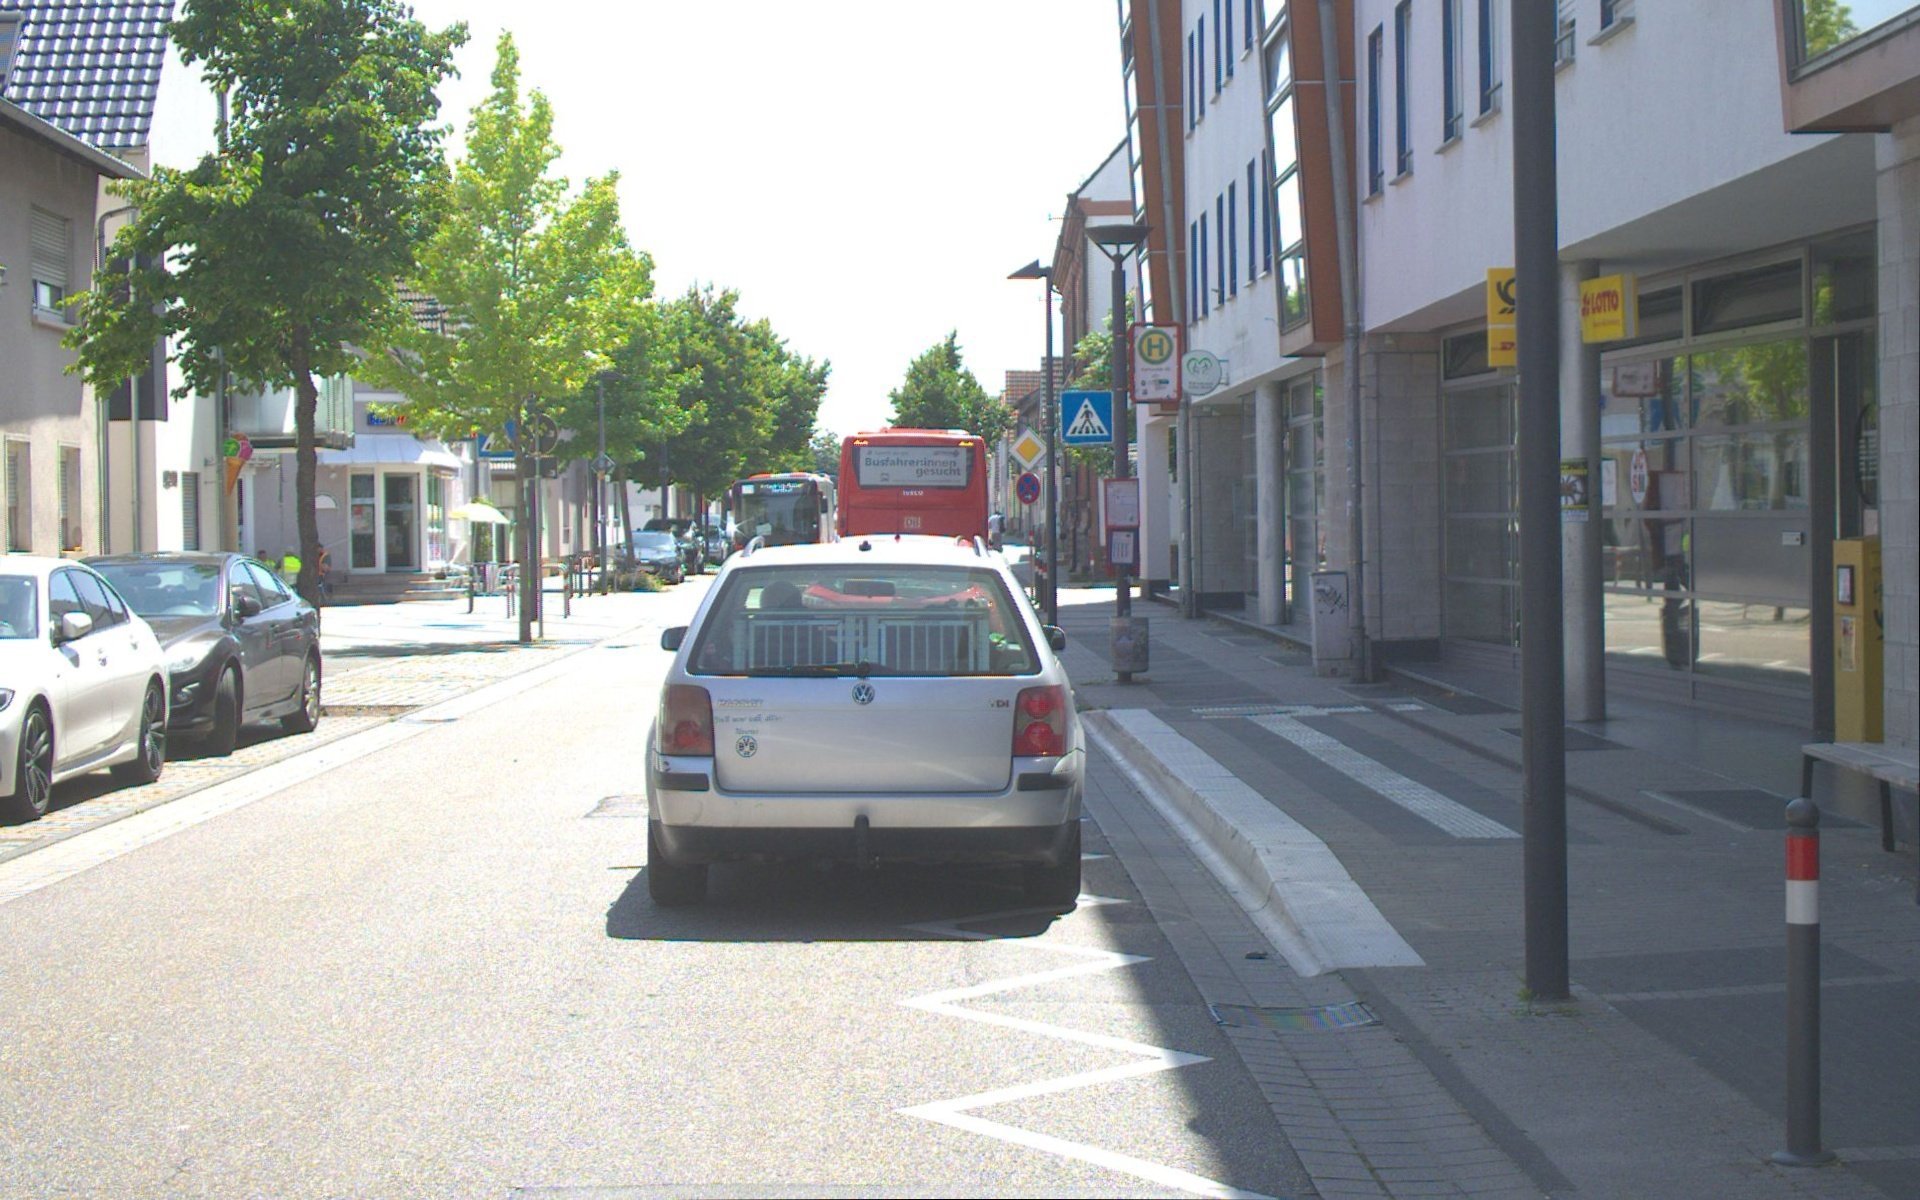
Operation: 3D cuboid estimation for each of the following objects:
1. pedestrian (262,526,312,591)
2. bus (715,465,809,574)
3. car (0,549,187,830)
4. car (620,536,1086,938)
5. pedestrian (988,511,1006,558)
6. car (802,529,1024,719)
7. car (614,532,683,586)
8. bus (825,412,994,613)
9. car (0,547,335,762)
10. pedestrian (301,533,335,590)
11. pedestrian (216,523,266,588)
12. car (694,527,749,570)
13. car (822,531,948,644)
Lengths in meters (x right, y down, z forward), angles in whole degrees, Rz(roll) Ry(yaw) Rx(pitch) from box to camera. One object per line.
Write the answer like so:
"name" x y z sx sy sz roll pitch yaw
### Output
"pedestrian" -13.605 -0.842 69.497 0.634 1.284 0.789 1 1 -44
"bus" -6.243 -2.675 109.035 2.668 3.113 17.810 -1 2 -3
"car" -5.838 0.431 20.093 1.720 1.432 4.460 0 1 -1
"car" -0.429 0.472 14.492 1.677 1.425 3.680 2 1 -1
"pedestrian" 1.318 -2.325 122.455 0.606 1.661 0.789 -1 1 -2
"car" -0.401 0.149 28.456 1.677 1.425 3.680 2 1 -1
"car" -8.541 -1.146 94.427 1.605 1.433 4.065 -1 1 -1
"bus" -1.081 -1.548 62.865 2.740 3.287 12.707 0 1 -2
"car" -5.909 0.336 25.658 1.660 1.432 4.539 0 1 0
"pedestrian" -13.232 -0.801 70.884 0.622 1.175 0.697 -1 1 -5
"pedestrian" -14.620 -0.899 69.894 0.634 1.284 0.789 1 1 -44
"car" -8.833 -1.908 127.482 1.811 1.553 4.000 -1 1 -1
"car" -0.968 -0.194 46.074 1.593 1.425 3.680 1 1 0
